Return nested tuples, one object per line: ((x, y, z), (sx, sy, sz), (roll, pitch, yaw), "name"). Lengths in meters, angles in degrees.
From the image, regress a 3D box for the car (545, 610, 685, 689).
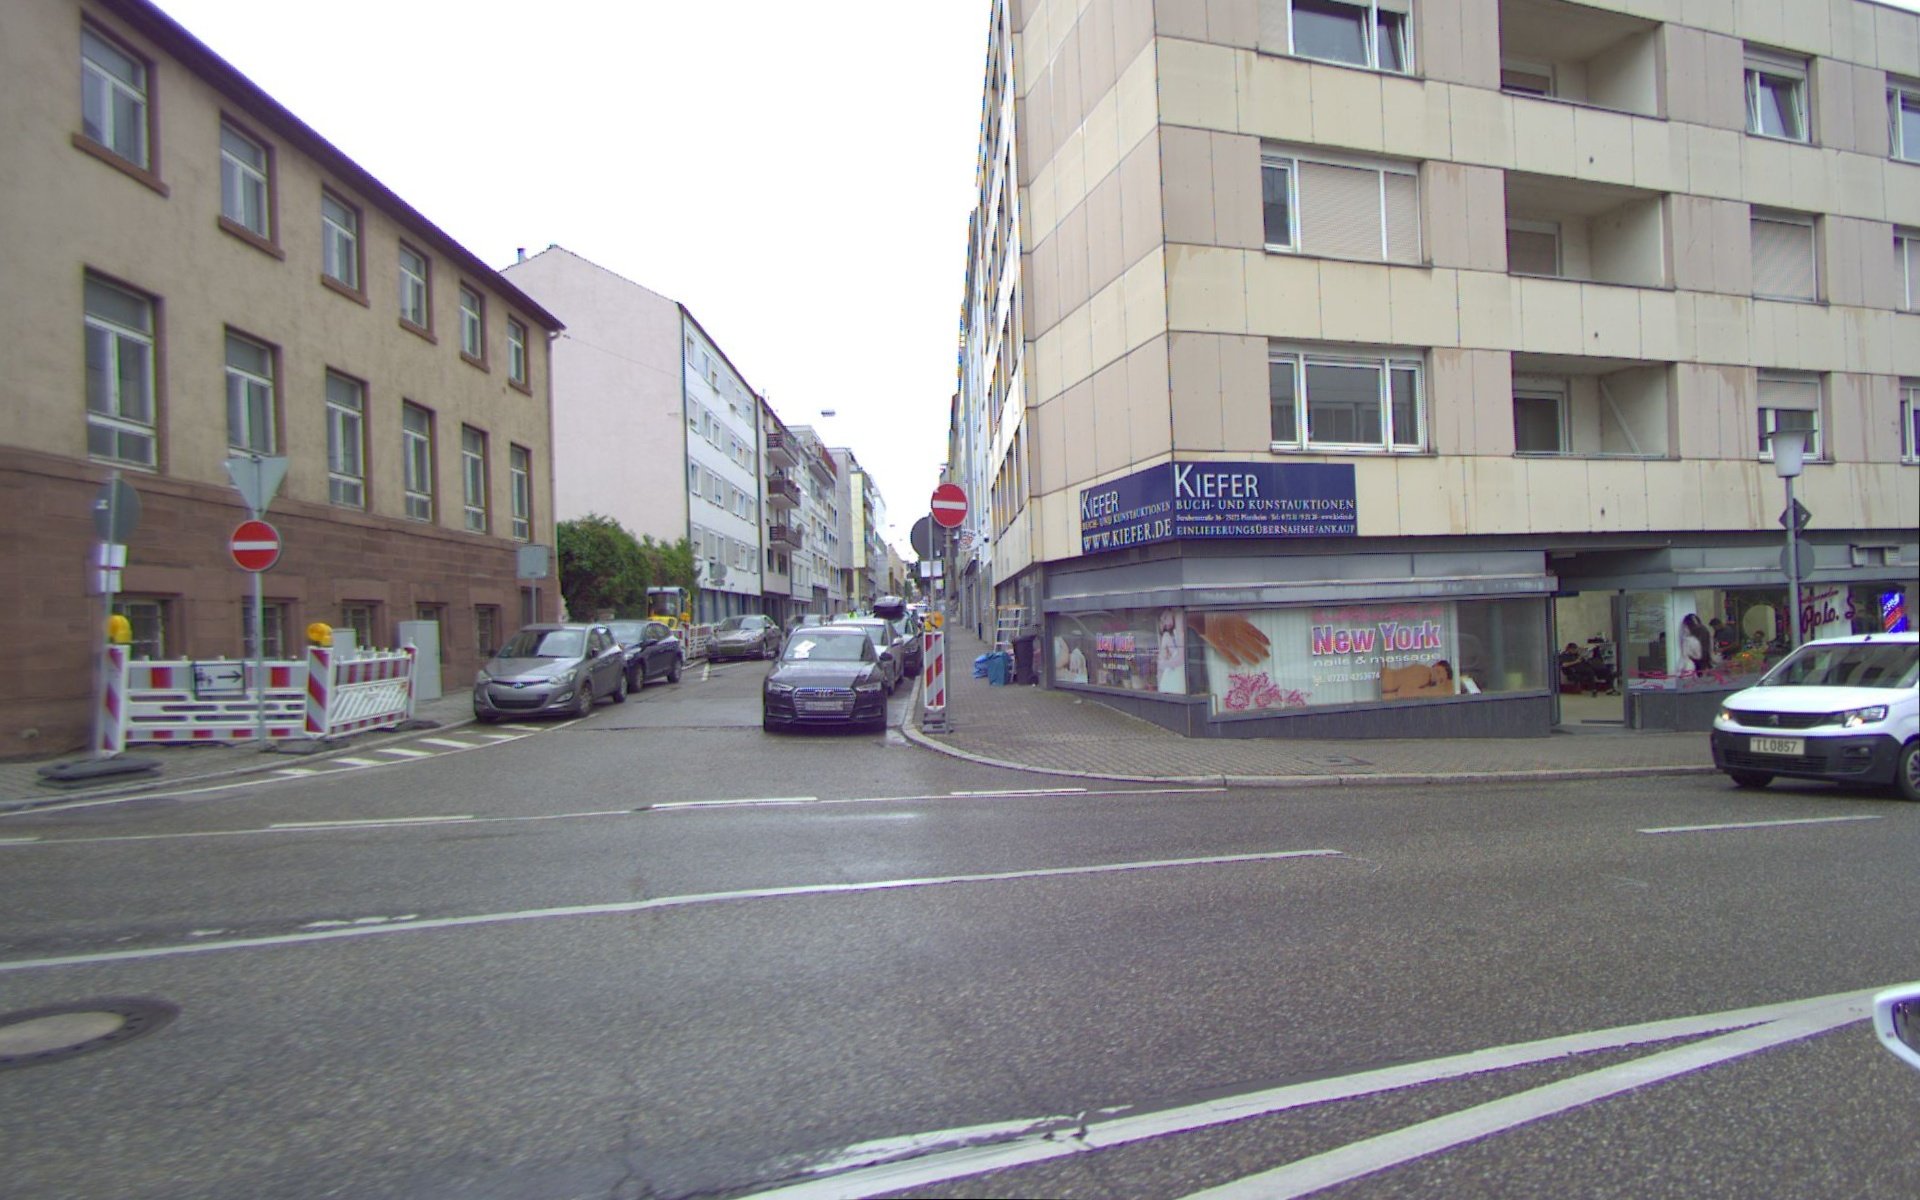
((-7.421, 1.019, 21.960), (1.719, 1.486, 3.514), (-2, 0, 2), "car")

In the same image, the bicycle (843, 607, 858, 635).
((-5.451, 1.062, 50.030), (0.637, 1.334, 2.237), (1, -1, -3), "bicycle")

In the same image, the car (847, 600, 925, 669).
((-1.839, 0.825, 25.969), (1.719, 1.604, 4.000), (1, 0, 0), "car")

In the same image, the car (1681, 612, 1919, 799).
((10.635, 1.128, 11.444), (4.200, 1.827, 1.860), (2, -3, -19), "car")

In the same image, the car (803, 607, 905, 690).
((-2.101, 0.930, 20.912), (1.719, 1.486, 3.999), (1, 0, 0), "car")

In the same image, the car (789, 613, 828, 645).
((-7.971, 1.496, 53.149), (1.720, 1.486, 3.997), (-2, 0, -4), "car")

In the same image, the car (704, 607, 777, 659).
((-7.037, 1.025, 32.572), (1.720, 1.486, 3.997), (-2, 0, -4), "car")

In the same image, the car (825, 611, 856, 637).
((-7.601, 1.498, 64.212), (1.720, 1.486, 4.333), (-2, 0, -4), "car")

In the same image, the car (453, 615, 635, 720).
((-6.952, 1.052, 17.230), (1.720, 1.486, 3.811), (-2, 0, -4), "car")

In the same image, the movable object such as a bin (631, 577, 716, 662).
((-8.962, 0.564, 31.777), (1.720, 2.466, 3.997), (-2, 0, -4), "movable object such as a bin")

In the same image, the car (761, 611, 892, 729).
((-2.042, 0.972, 15.649), (1.721, 1.524, 4.360), (1, 0, -7), "car")

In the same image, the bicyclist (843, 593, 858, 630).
((-5.449, 0.595, 50.032), (0.637, 1.833, 0.824), (1, -1, -3), "bicyclist")
